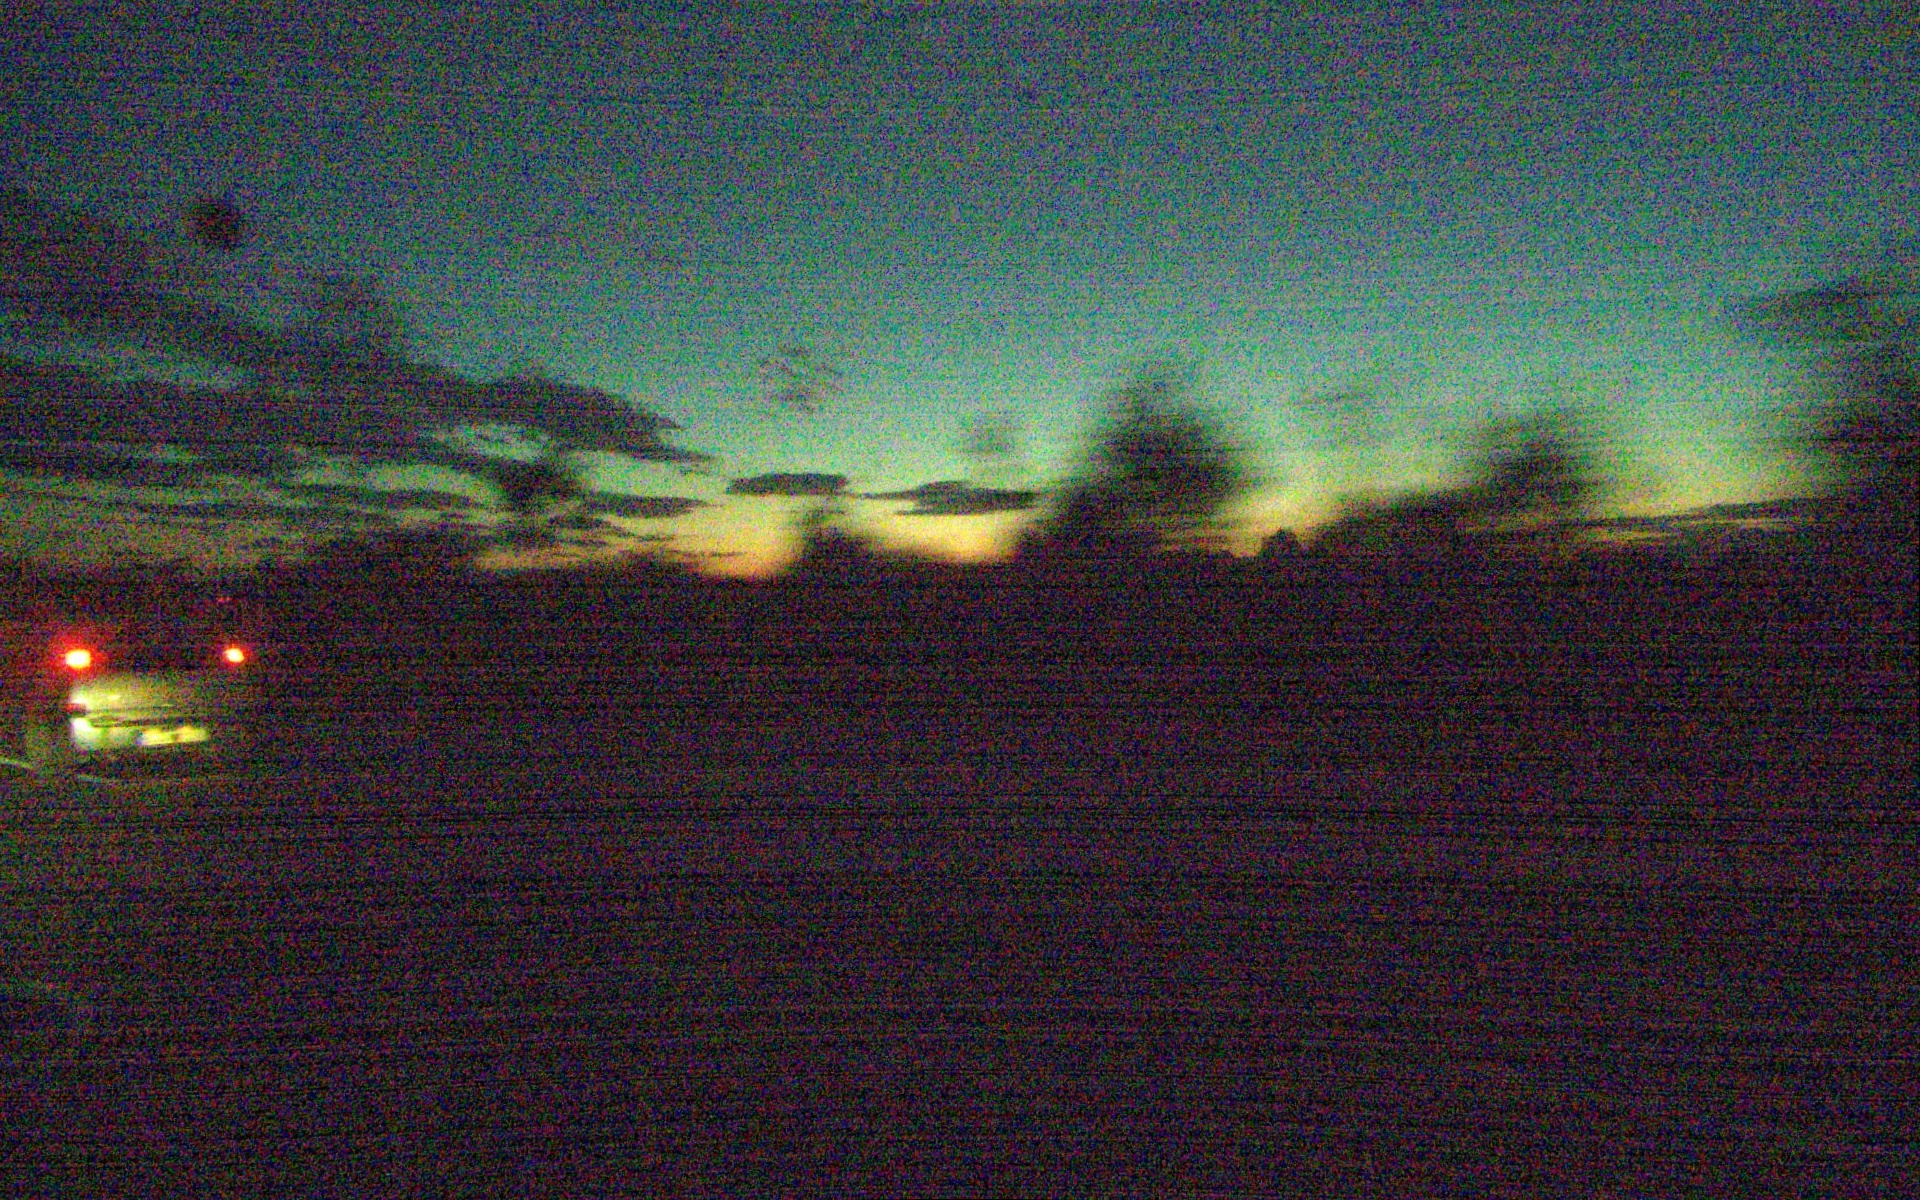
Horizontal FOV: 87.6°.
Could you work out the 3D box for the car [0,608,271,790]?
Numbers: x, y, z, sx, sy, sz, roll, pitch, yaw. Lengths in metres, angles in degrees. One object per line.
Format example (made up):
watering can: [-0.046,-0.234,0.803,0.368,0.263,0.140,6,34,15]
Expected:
car: [-9.395,0.933,10.785,4.445,1.617,1.643,-1,-1,32]
